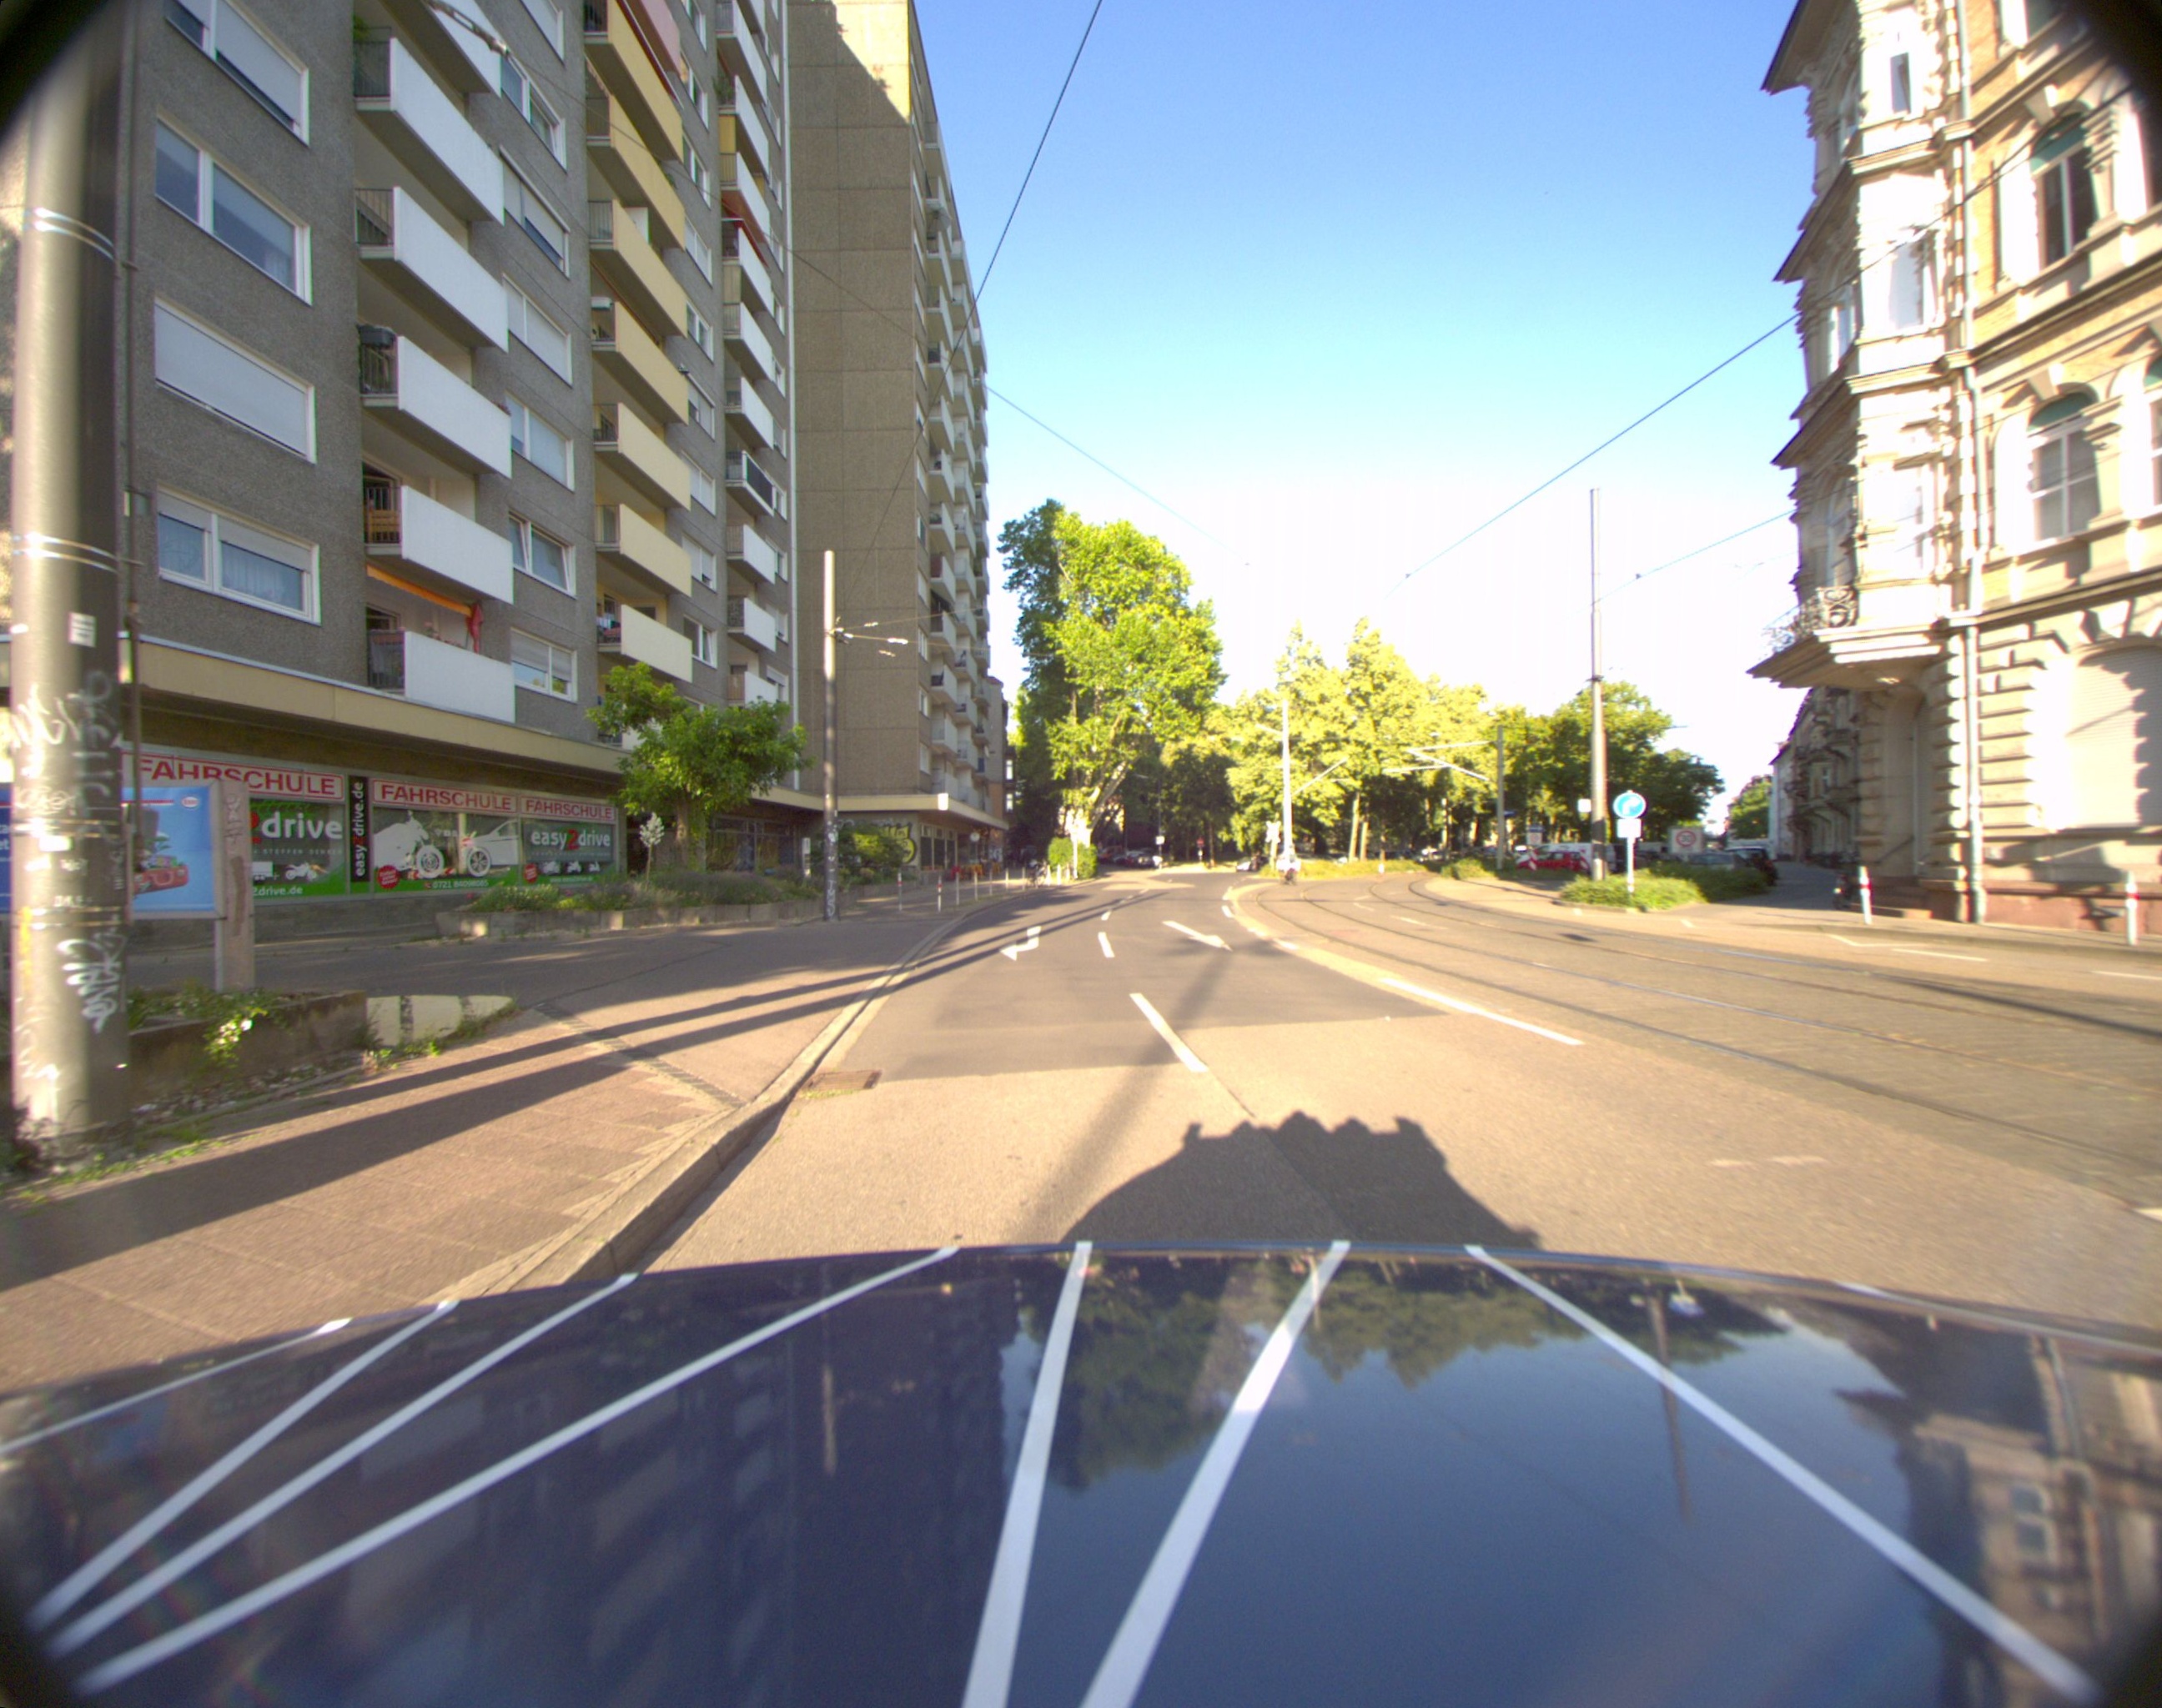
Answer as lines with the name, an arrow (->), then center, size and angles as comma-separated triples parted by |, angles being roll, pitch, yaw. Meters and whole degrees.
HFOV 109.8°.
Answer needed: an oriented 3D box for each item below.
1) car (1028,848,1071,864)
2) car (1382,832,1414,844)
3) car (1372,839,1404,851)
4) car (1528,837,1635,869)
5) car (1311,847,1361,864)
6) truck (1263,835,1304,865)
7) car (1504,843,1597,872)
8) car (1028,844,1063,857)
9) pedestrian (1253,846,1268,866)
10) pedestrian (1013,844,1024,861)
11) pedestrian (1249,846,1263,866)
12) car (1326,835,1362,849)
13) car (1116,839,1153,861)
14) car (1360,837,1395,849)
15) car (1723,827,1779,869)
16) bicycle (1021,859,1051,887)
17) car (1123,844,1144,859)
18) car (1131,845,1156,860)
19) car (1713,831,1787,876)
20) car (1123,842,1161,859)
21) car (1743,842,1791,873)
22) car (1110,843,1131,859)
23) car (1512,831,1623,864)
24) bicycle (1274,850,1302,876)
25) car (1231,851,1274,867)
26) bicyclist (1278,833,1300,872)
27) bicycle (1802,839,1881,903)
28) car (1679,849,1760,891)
car -> -3.130, 0.202, 75.272 | 4.000, 1.499, 1.884 | -1, 0, -9
car -> 46.338, -2.297, 111.227 | 1.888, 1.740, 3.990 | -1, 0, -31
car -> 44.124, -1.278, 109.236 | 1.888, 1.740, 3.990 | -1, 0, -31
car -> 30.047, -0.046, 45.806 | 2.003, 1.798, 5.047 | -1, 0, -29
car -> 21.222, 0.138, 63.339 | 1.744, 1.346, 3.679 | -1, 0, -34
truck -> 19.502, -0.363, 73.058 | 1.994, 2.767, 4.894 | 0, 1, 40
car -> 26.019, 0.175, 42.196 | 1.871, 1.499, 3.990 | -1, 0, -29
car -> -4.317, -0.438, 92.066 | 4.000, 1.499, 1.884 | -1, 0, -9
pedestrian -> 15.491, 0.166, 65.611 | 0.889, 1.758, 0.829 | -1, 1, -17
pedestrian -> -7.575, -0.181, 91.792 | 1.213, 2.002, 1.206 | -1, 1, -8
pedestrian -> 15.320, 0.156, 66.429 | 0.889, 1.758, 0.829 | -1, 1, -17
car -> 34.711, -1.547, 100.291 | 2.002, 1.740, 4.434 | -1, 0, -24
car -> 6.174, -0.455, 87.790 | 3.927, 2.392, 1.534 | -1, 1, -10
car -> 41.972, -1.517, 107.544 | 2.003, 1.696, 4.347 | -1, 0, -30
car -> 33.723, -0.305, 38.195 | 1.994, 2.002, 4.645 | 0, 1, 43
bicycle -> -1.940, 0.811, 33.052 | 0.609, 1.128, 2.283 | -1, 0, 15
car -> 5.560, -0.258, 80.286 | 1.535, 1.440, 3.924 | -1, 0, -7
car -> 6.146, -0.127, 74.645 | 1.741, 1.440, 3.629 | -1, 0, -7
car -> 26.576, -0.048, 30.134 | 4.008, 1.652, 1.733 | -1, 1, -42
car -> 6.830, -0.399, 85.234 | 3.927, 1.751, 1.534 | -1, 1, -10
car -> 40.328, 0.182, 44.638 | 1.994, 1.695, 4.273 | 0, 1, 43
car -> 4.831, -0.355, 94.088 | 1.772, 1.846, 4.225 | -1, 0, -9
car -> 27.798, -0.360, 43.616 | 2.003, 1.777, 5.047 | -1, 0, -29
bicycle -> 9.482, 0.409, 34.880 | 0.611, 1.168, 1.951 | -1, 0, -5
car -> 15.610, 0.408, 69.136 | 4.008, 1.390, 1.945 | -1, 1, -43
bicyclist -> 9.497, -0.056, 34.725 | 0.607, 1.753, 1.060 | -1, 1, -5
bicycle -> 15.995, 0.325, 15.952 | 2.693, 1.259, 0.643 | -1, 1, -33
car -> 22.821, 0.528, 27.134 | 3.441, 1.406, 1.733 | -1, 1, -42
